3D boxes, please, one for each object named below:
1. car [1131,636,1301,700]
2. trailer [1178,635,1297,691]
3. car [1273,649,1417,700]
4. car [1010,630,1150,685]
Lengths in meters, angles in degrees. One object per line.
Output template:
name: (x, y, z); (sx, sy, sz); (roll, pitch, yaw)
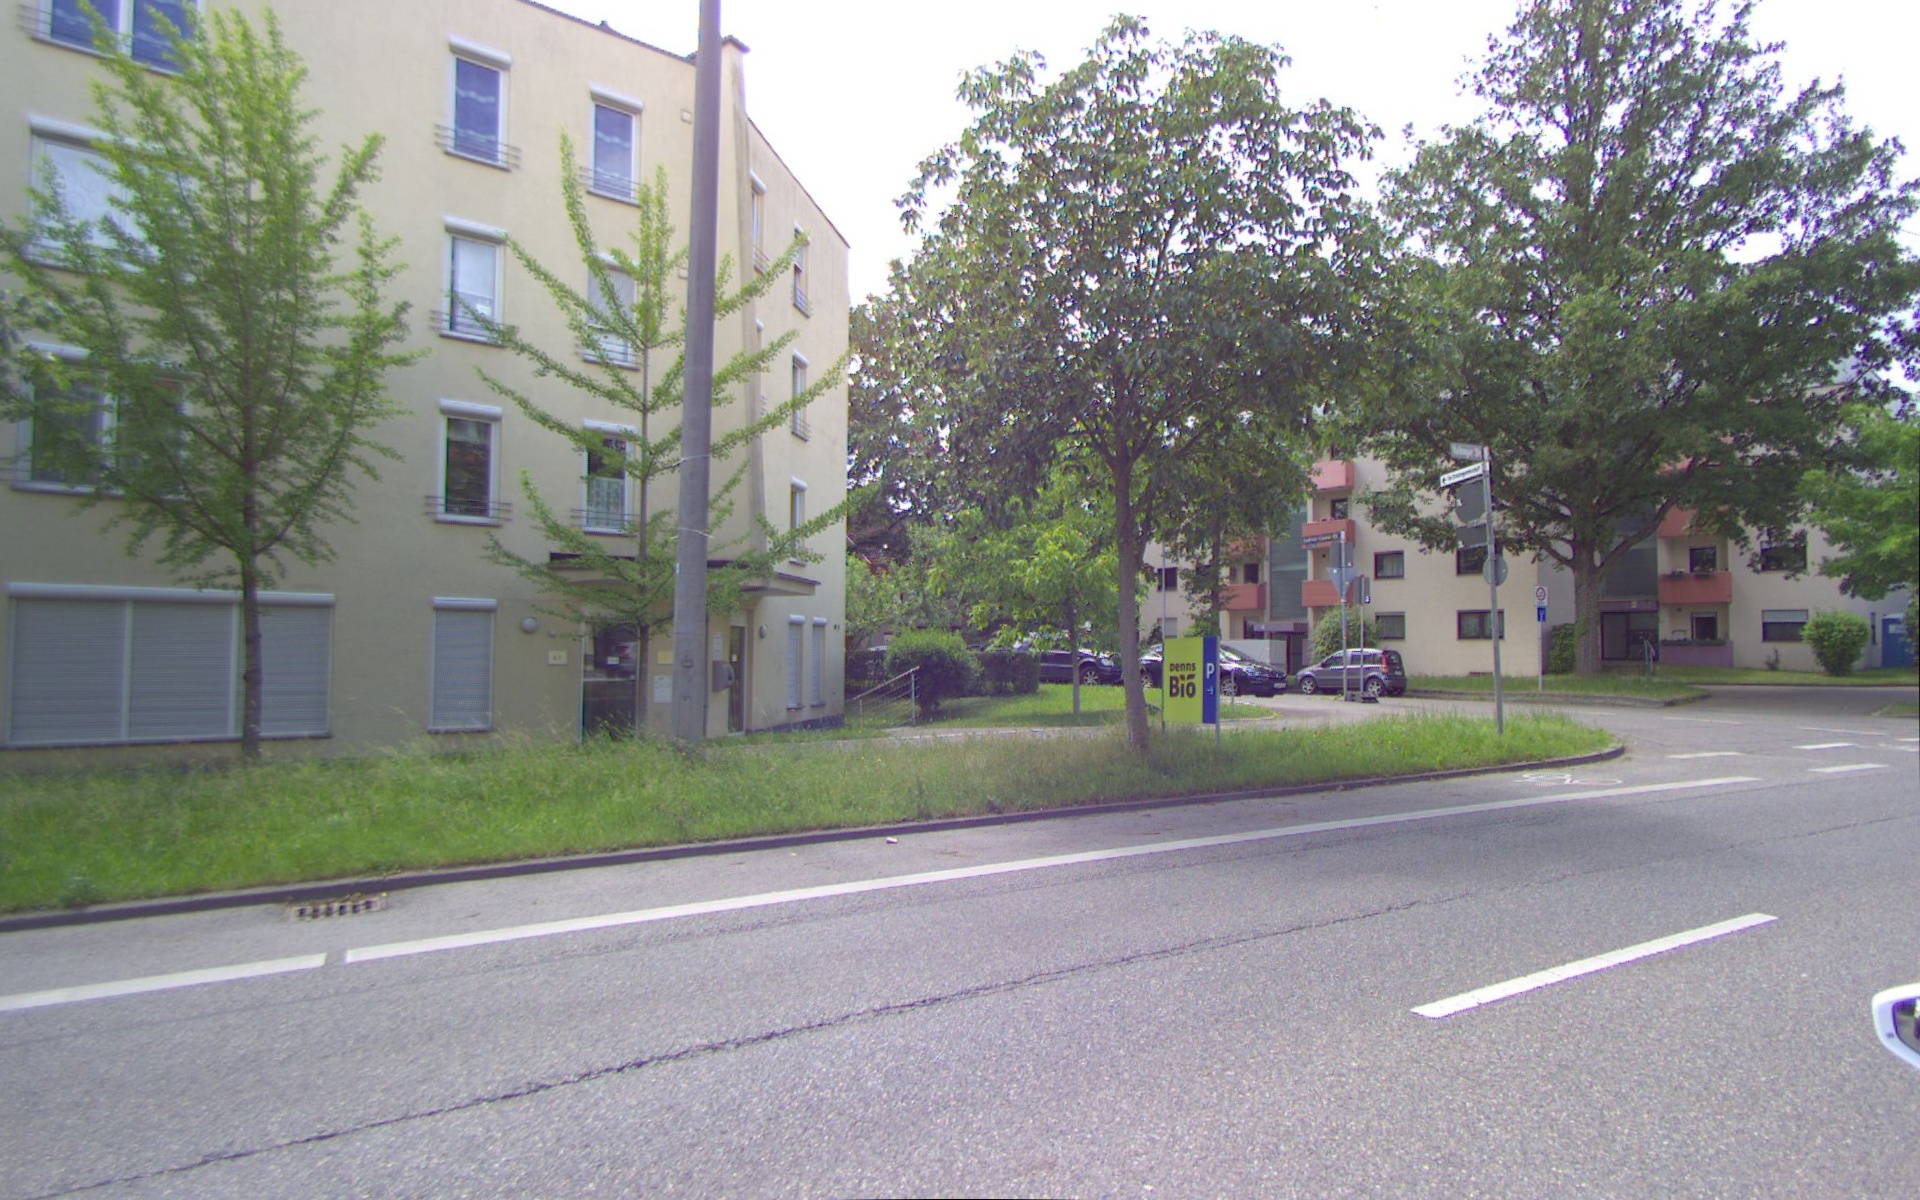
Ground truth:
car: (6.624, 1.747, 26.309); (1.780, 1.417, 4.047); (6, -5, -38)
trailer: (10.010, 2.254, 36.398); (1.618, 1.821, 3.874); (7, -5, -40)
car: (12.574, 2.421, 32.979); (1.780, 1.417, 4.047); (6, -5, -38)
car: (3.557, 1.716, 30.410); (1.884, 1.543, 4.144); (2, -3, -38)
